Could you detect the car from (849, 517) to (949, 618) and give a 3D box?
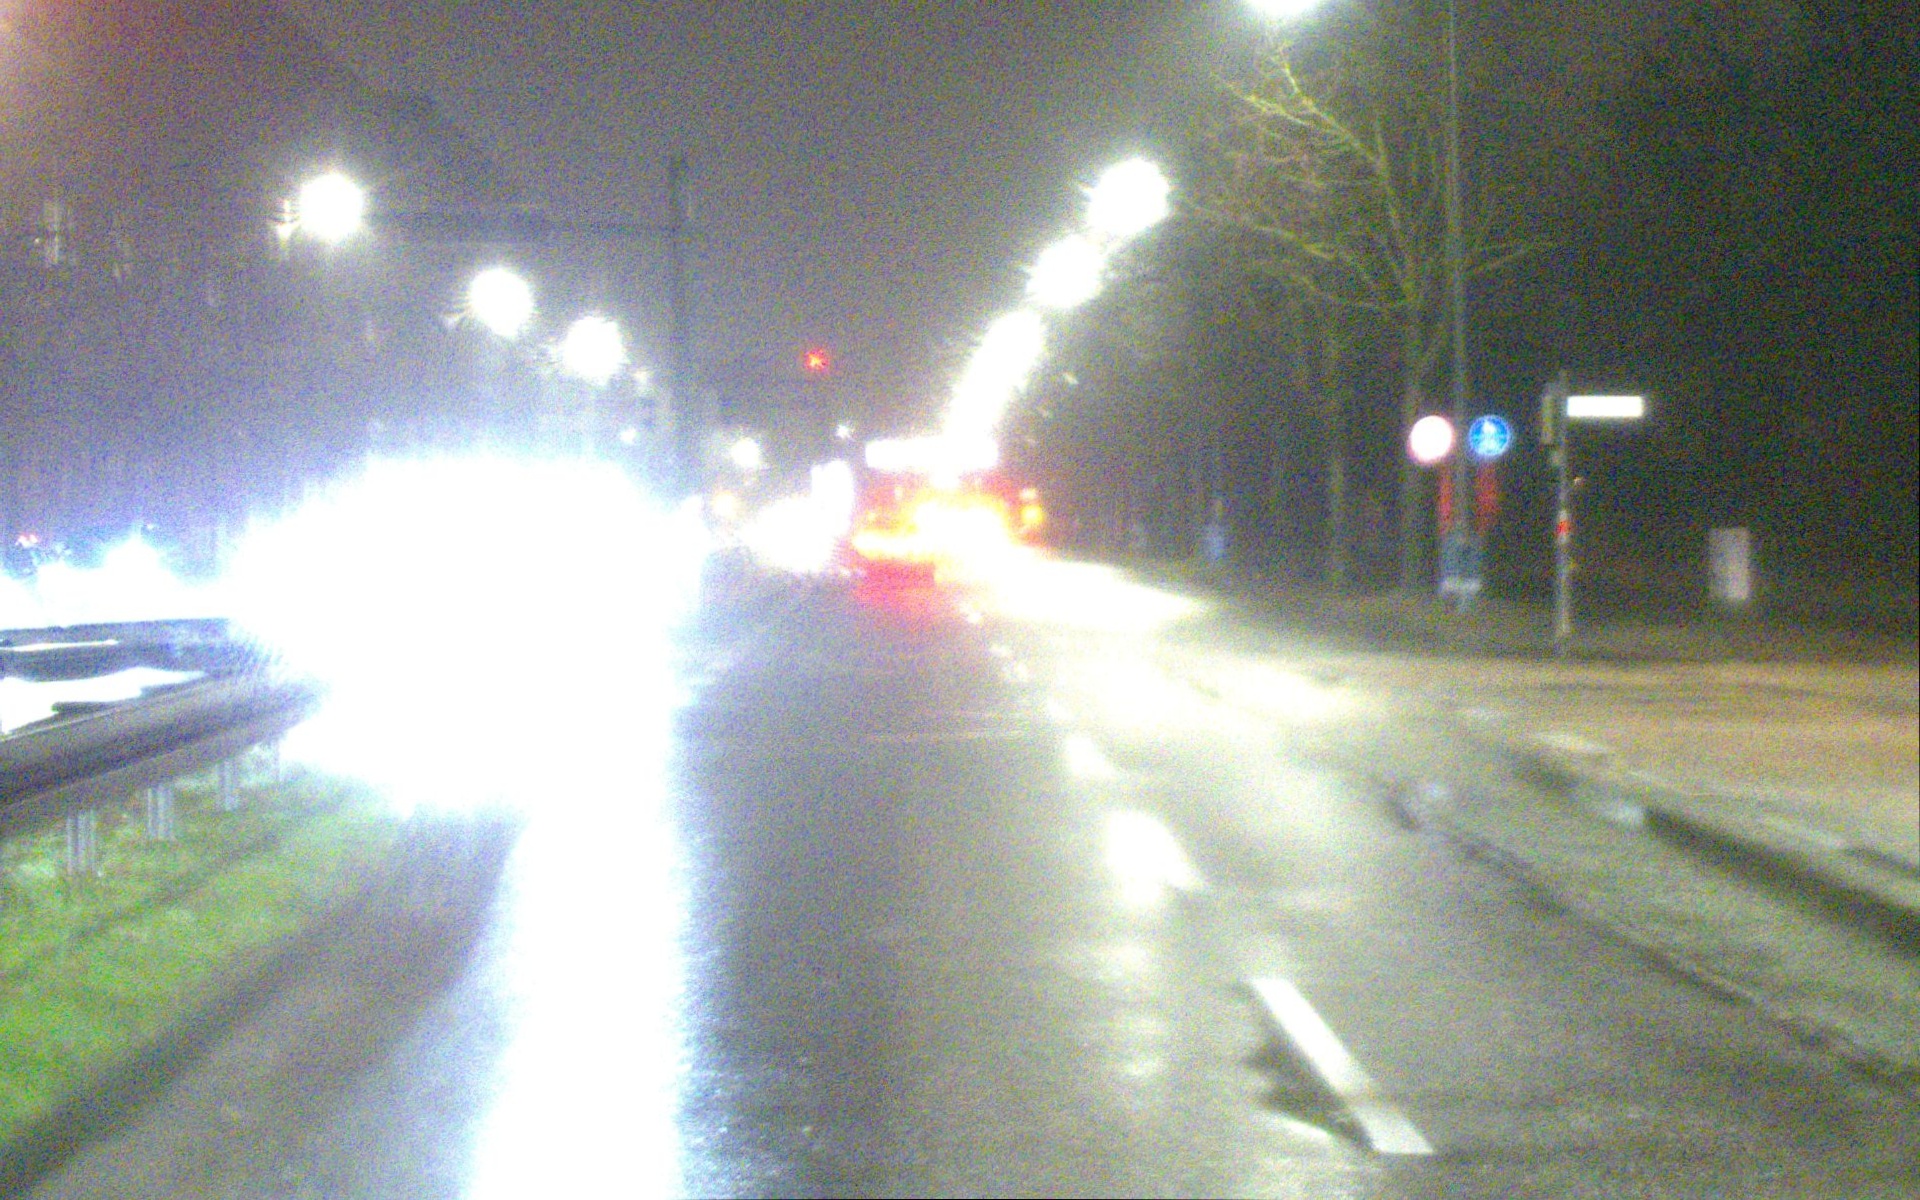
[{"bbox_3d":[-1.372,-0.729,76.585,2.135,2.137,4.929,1,1,-1],"label":"car"}]

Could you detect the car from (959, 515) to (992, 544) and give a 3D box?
[{"bbox_3d":[0.974,-4.477,218.962,1.993,1.753,4.000,1,1,-1],"label":"car"}]
